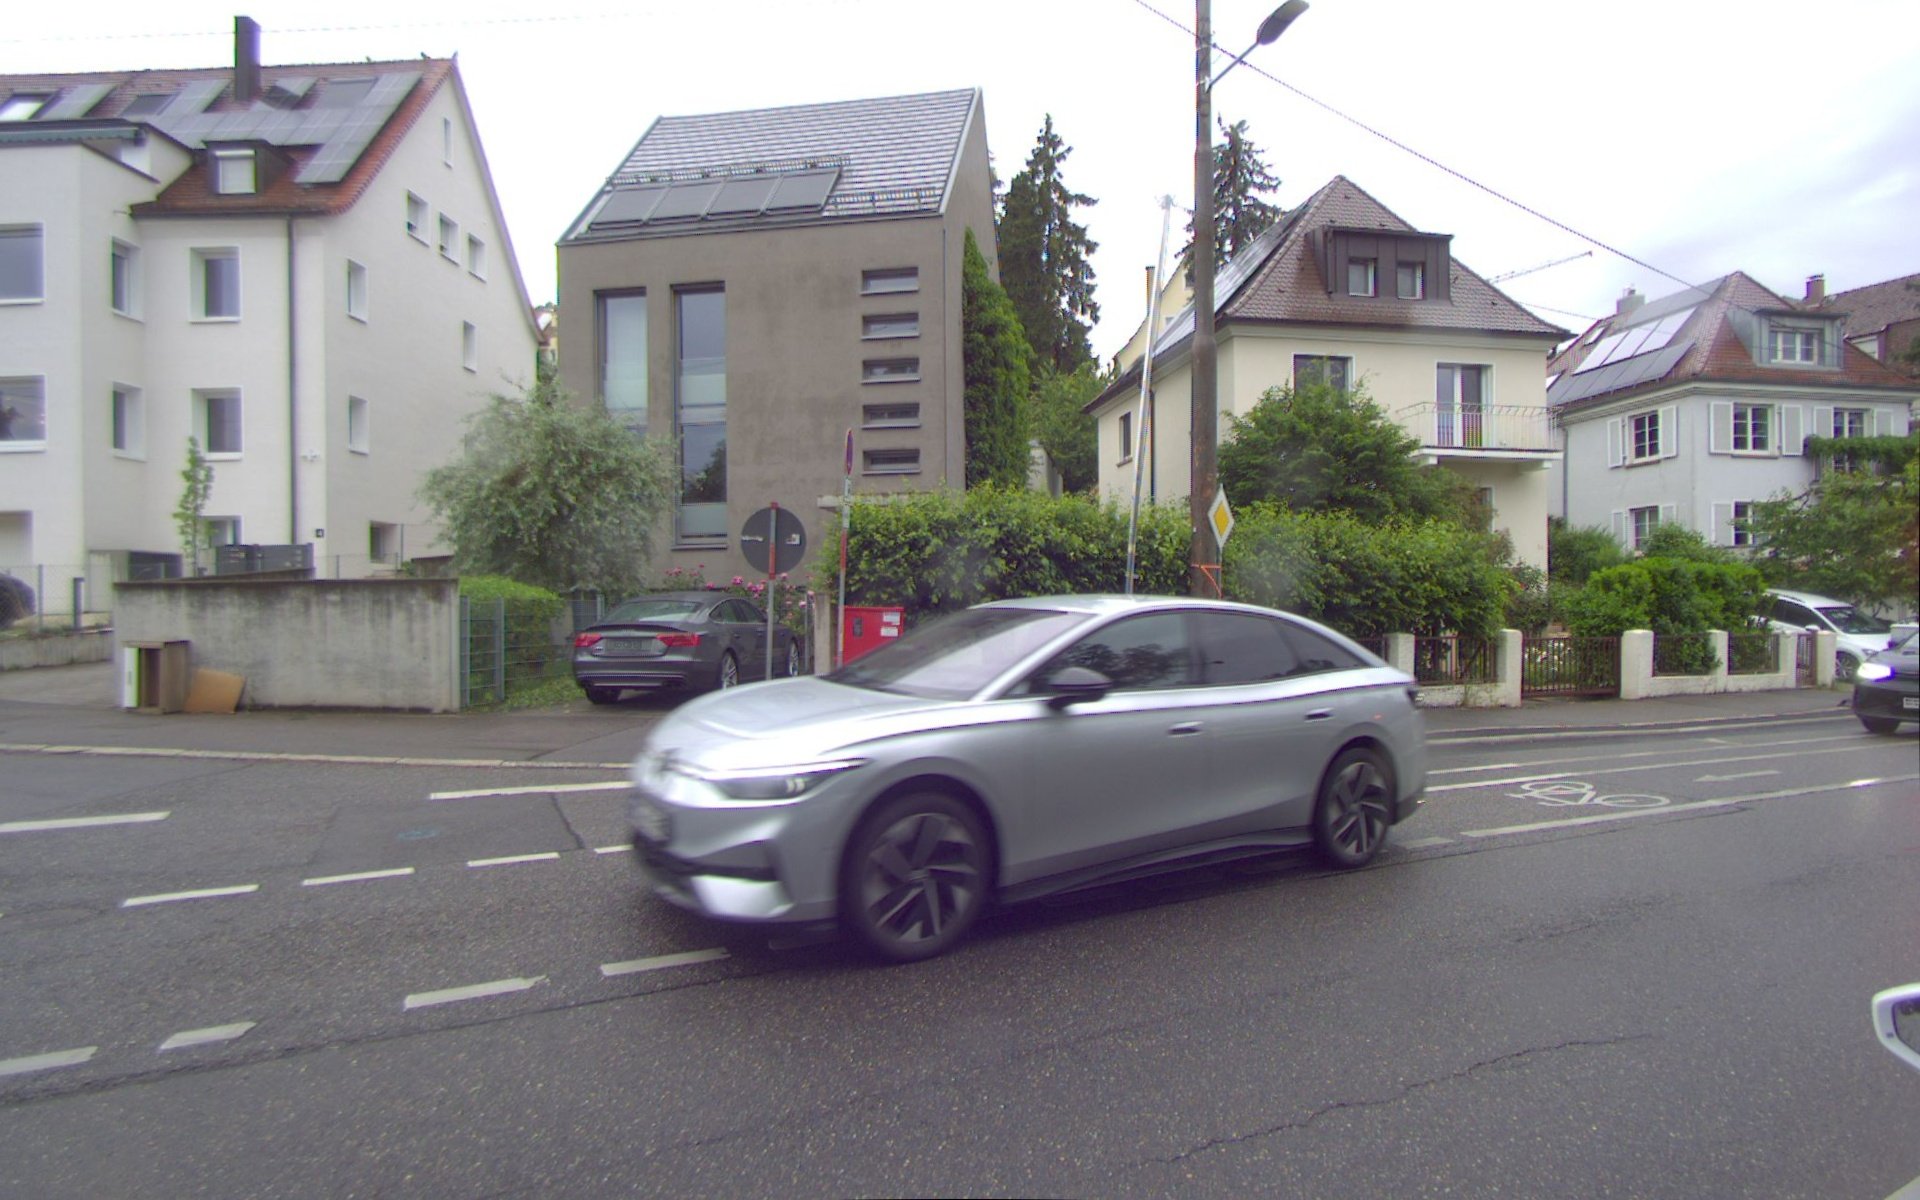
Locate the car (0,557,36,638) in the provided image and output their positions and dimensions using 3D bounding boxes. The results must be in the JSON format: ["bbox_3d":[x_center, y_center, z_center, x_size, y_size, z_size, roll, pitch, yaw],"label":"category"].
[{"bbox_3d":[-16.738,0.043,15.170,1.576,1.298,4.008,2,4,6],"label":"car"}]

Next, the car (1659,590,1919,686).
[{"bbox_3d":[19.590,0.811,23.912,1.870,2.033,4.628,1,0,-18],"label":"car"}]

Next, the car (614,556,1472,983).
[{"bbox_3d":[0.710,0.669,5.745,4.769,1.547,1.842,2,0,-34],"label":"car"}]

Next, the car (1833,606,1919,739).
[{"bbox_3d":[13.797,0.901,13.423,4.111,1.643,1.860,0,0,-28],"label":"car"}]

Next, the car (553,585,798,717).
[{"bbox_3d":[-3.615,0.557,13.576,1.740,1.506,4.002,0,1,7],"label":"car"}]
